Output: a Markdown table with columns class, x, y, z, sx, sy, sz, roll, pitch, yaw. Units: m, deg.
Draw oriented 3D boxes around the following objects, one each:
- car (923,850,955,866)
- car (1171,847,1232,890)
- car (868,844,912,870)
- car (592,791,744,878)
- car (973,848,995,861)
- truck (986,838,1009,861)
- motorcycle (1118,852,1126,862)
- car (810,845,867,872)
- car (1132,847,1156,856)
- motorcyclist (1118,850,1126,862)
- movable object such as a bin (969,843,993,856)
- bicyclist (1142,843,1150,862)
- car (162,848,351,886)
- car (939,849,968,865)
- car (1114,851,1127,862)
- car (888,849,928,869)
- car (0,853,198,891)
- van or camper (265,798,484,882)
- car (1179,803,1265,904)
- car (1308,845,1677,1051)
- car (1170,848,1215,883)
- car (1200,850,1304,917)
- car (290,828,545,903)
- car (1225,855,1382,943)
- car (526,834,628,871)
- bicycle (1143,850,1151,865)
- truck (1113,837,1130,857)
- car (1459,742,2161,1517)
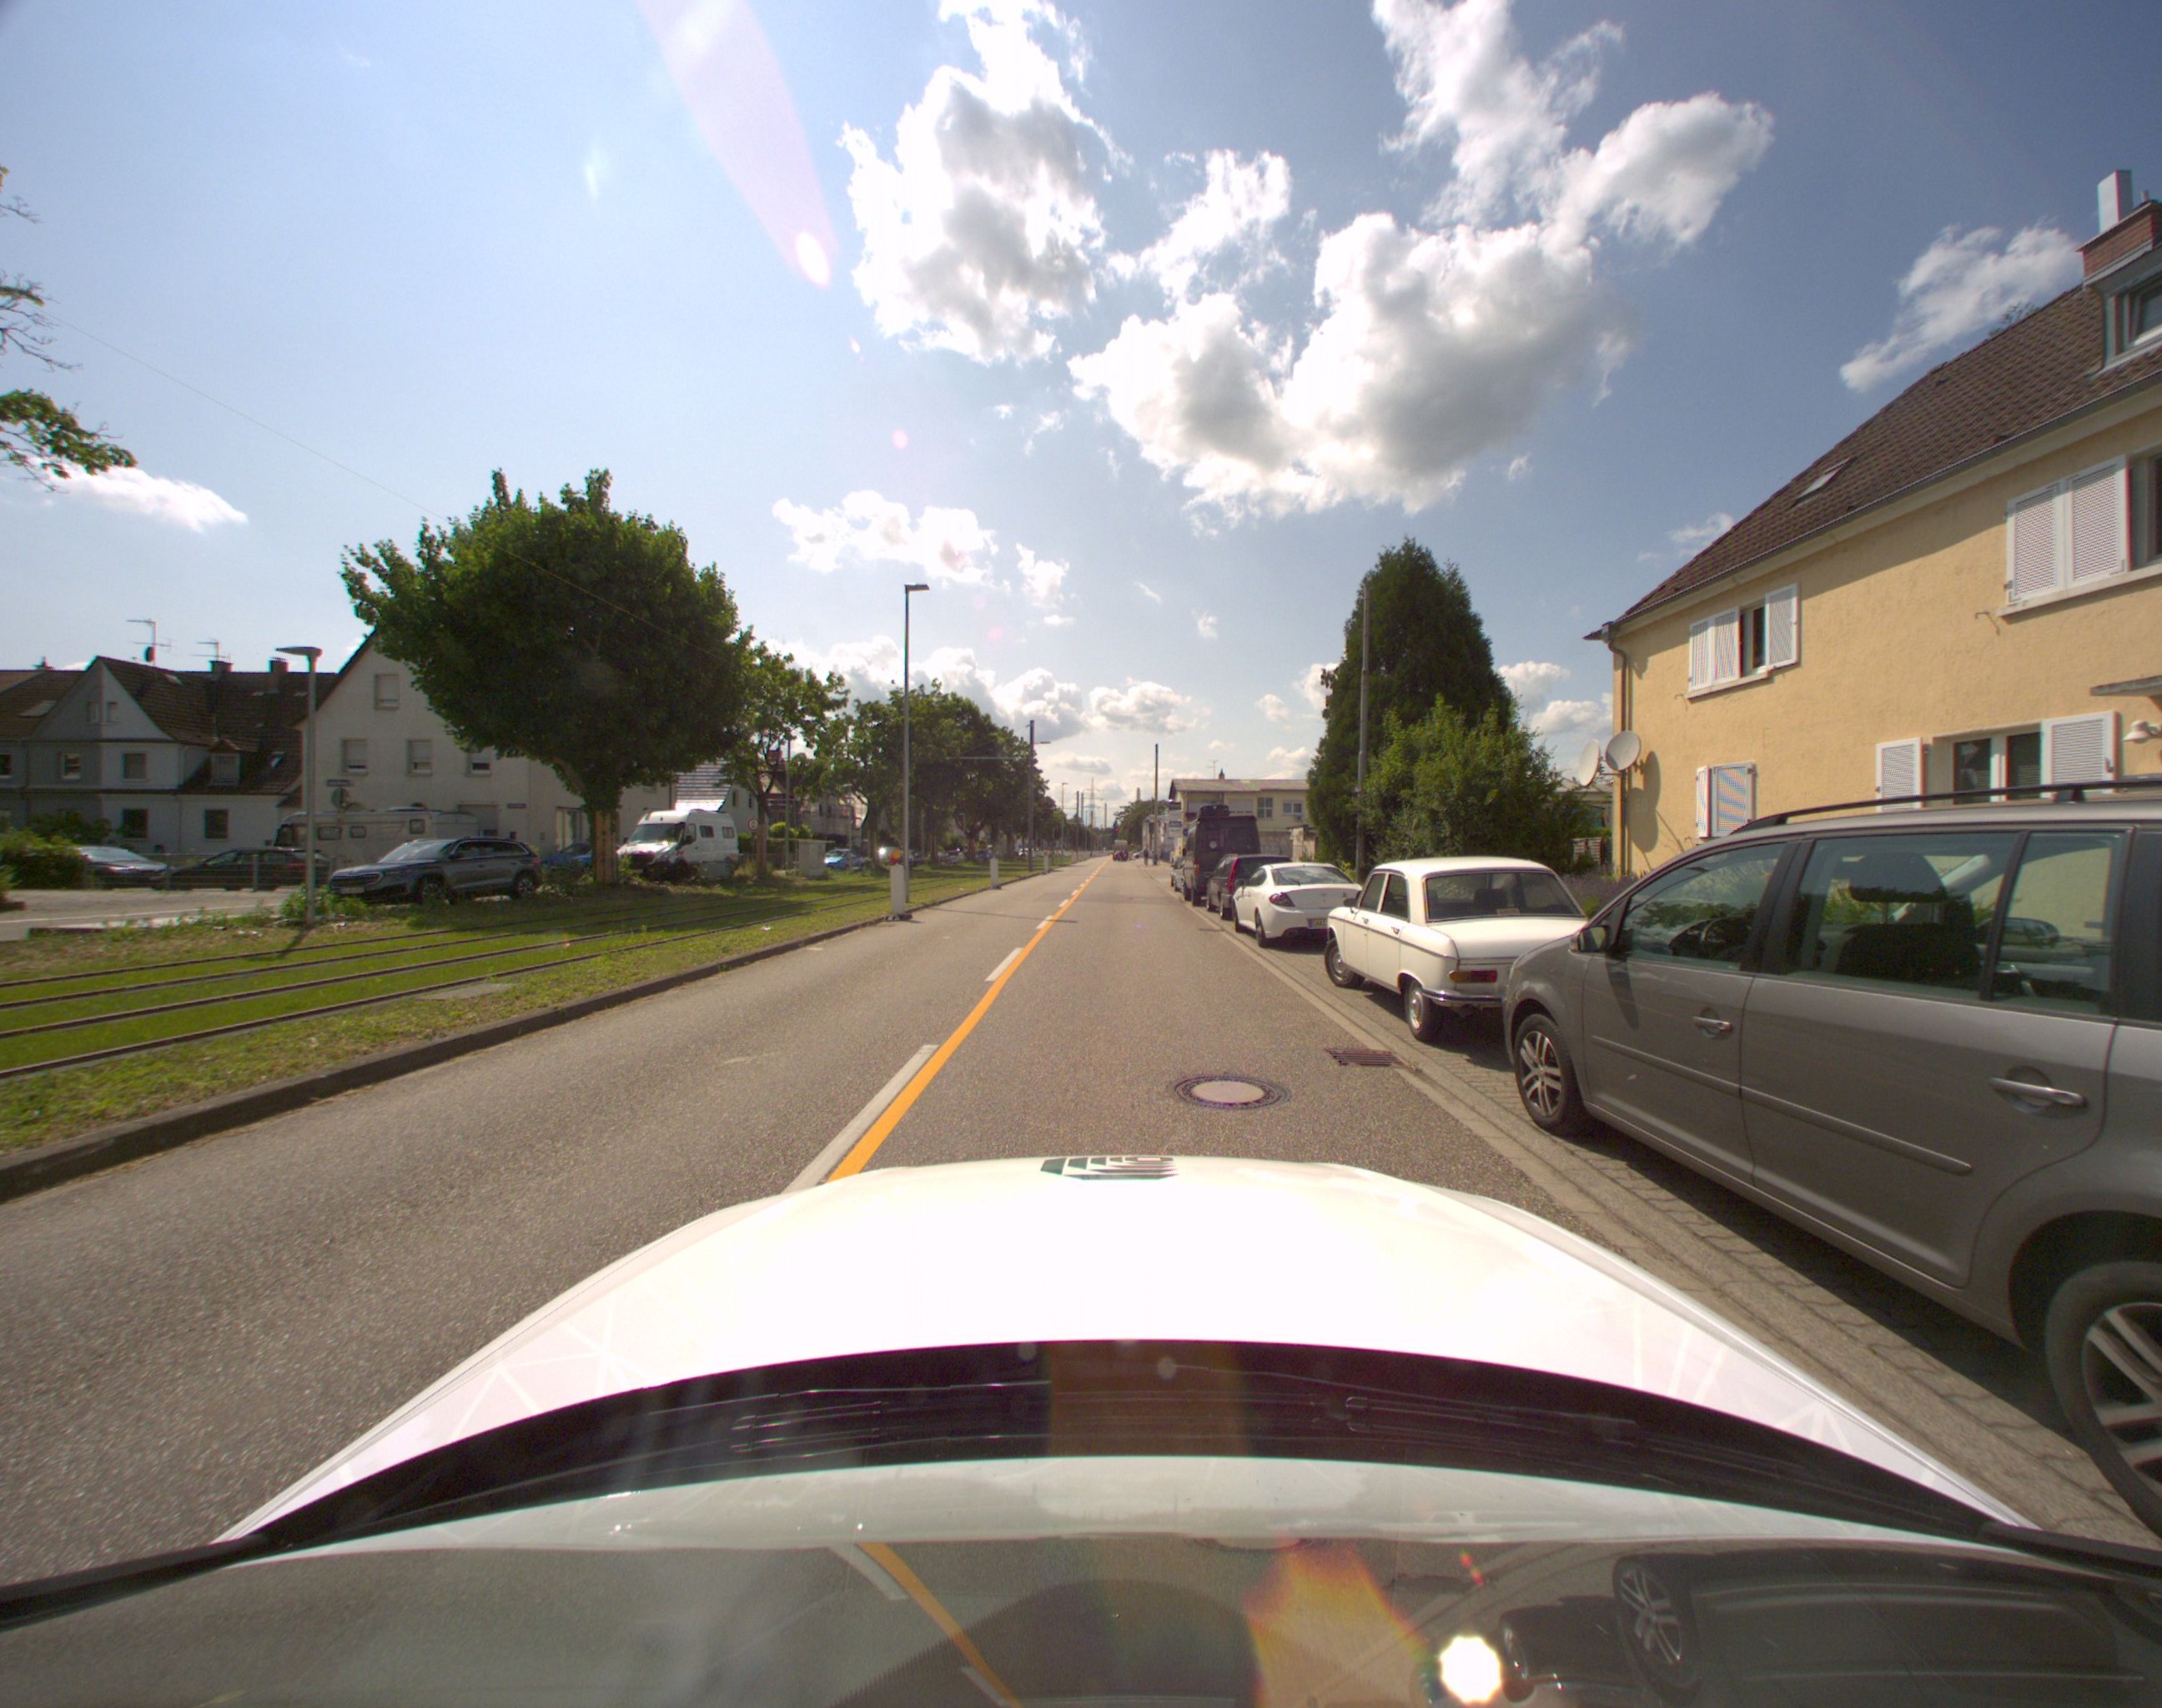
| class | x | y | z | sx | sy | sz | roll | pitch | yaw |
| --- | --- | --- | --- | --- | --- | --- | --- | --- | --- |
| car | -12.562 | 0.361 | 72.380 | 1.985 | 1.318 | 3.855 | -2 | -1 | 2 |
| car | 4.502 | 0.531 | 30.935 | 1.686 | 1.516 | 4.355 | 0 | -1 | 0 |
| car | -13.172 | 0.212 | 56.410 | 1.987 | 1.691 | 4.390 | 0 | -1 | -1 |
| car | -14.304 | -0.630 | 28.780 | 1.987 | 2.730 | 6.463 | 0 | 0 | 1 |
| car | -11.364 | 0.042 | 95.588 | 1.986 | 1.453 | 4.000 | 0 | -1 | 1 |
| truck | -10.843 | -0.592 | 106.529 | 1.985 | 2.767 | 6.280 | -2 | 0 | 3 |
| motorcycle | 5.738 | 0.426 | 114.098 | 0.935 | 1.320 | 2.647 | 3 | 0 | 3 |
| car | -13.541 | 0.254 | 45.745 | 1.746 | 1.436 | 3.894 | 0 | -1 | 5 |
| car | 12.088 | -0.458 | 155.818 | 4.324 | 1.551 | 1.946 | 0 | -1 | -6 |
| motorcyclist | 5.740 | 0.272 | 113.917 | 0.935 | 1.615 | 1.205 | 3 | 0 | 2 |
| movable object such as a bin | -19.695 | -0.890 | 160.308 | 4.349 | 2.449 | 1.777 | 1 | 0 | -20 |
| bicyclist | 6.194 | -0.116 | 77.272 | 0.668 | 1.744 | 0.814 | 1 | 0 | 2 |
| car | -26.182 | 0.407 | 25.975 | 3.971 | 1.161 | 2.047 | 0 | -1 | 2 |
| car | -12.160 | 0.327 | 78.027 | 1.797 | 1.482 | 4.943 | 0 | 0 | 3 |
| car | 5.790 | 0.360 | 118.577 | 1.814 | 1.424 | 4.003 | 2 | 0 | 3 |
| car | -13.174 | 0.364 | 62.196 | 1.986 | 1.439 | 4.002 | -1 | -1 | 2 |
| car | -31.322 | 0.559 | 26.078 | 3.971 | 1.134 | 2.001 | 0 | -1 | 2 |
| van or camper | -28.805 | -0.565 | 33.408 | 6.701 | 3.221 | 2.636 | 1 | 0 | 2 |
| car | 4.163 | -0.015 | 24.765 | 1.988 | 2.760 | 4.882 | 0 | 0 | 3 |
| car | 3.409 | 0.653 | 7.667 | 1.642 | 1.418 | 4.029 | 0 | 0 | 3 |
| car | 4.820 | 0.505 | 35.626 | 1.644 | 1.431 | 4.100 | 0 | -1 | 4 |
| car | 3.935 | 0.621 | 19.510 | 1.714 | 1.402 | 4.840 | 0 | 0 | 3 |
| car | -14.851 | 0.249 | 18.645 | 1.985 | 1.506 | 4.489 | 0 | -1 | 3 |
| car | 3.638 | 0.667 | 14.050 | 1.714 | 1.295 | 4.131 | 0 | 0 | 2 |
| car | -22.482 | -0.052 | 36.504 | 1.895 | 1.577 | 4.003 | 0 | -1 | 3 |
| bicycle | 6.234 | 0.329 | 77.254 | 0.690 | 1.361 | 2.420 | 1 | 0 | 2 |
| truck | 6.757 | -1.230 | 134.894 | 2.599 | 3.255 | 9.191 | 0 | 1 | 3 |
| car | 3.160 | 0.577 | 3.017 | 1.673 | 1.630 | 4.273 | 0 | 0 | 2 |
